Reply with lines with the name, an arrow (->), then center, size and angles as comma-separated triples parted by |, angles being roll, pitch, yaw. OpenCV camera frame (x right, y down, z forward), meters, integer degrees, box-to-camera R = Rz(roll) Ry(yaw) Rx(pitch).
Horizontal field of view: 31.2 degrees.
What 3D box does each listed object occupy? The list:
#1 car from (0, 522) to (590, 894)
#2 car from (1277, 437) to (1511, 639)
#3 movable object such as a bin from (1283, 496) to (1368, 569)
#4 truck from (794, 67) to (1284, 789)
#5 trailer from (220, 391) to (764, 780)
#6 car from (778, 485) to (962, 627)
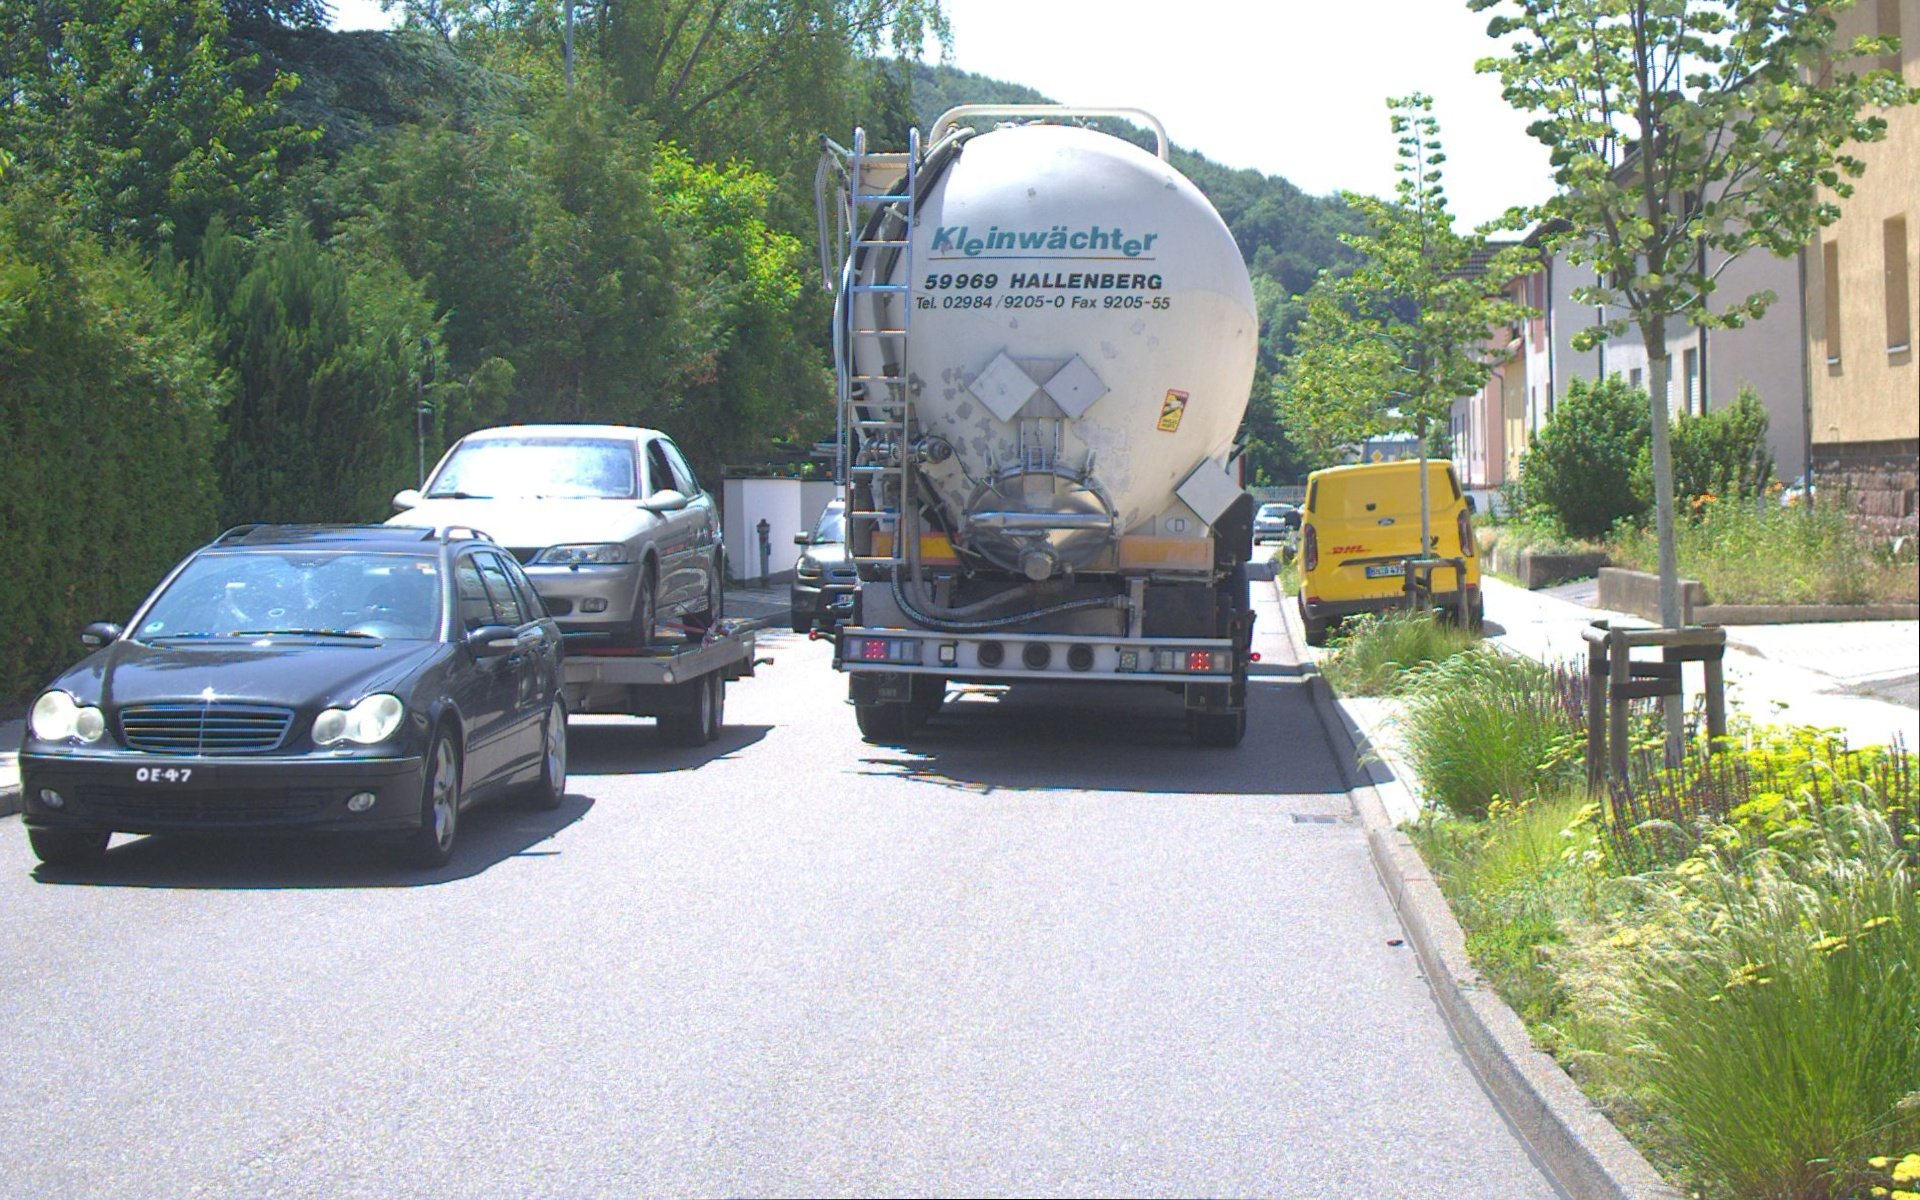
car -> -2.909, 0.378, 15.691 | 1.767, 1.397, 4.247 | 1, 2, 3
car -> 4.929, -0.708, 39.821 | 2.190, 2.007, 5.622 | -5, 1, 4
movable object such as a bin -> 7.366, -1.348, 69.425 | 1.572, 1.412, 3.041 | -1, 1, 4
truck -> 0.902, -1.138, 24.793 | 2.750, 4.042, 10.888 | 0, 2, 5
trailer -> -2.612, -0.124, 20.954 | 2.156, 1.980, 6.201 | 1, 1, 3
car -> -1.073, -0.589, 42.771 | 1.868, 1.647, 3.948 | 1, 2, 4
